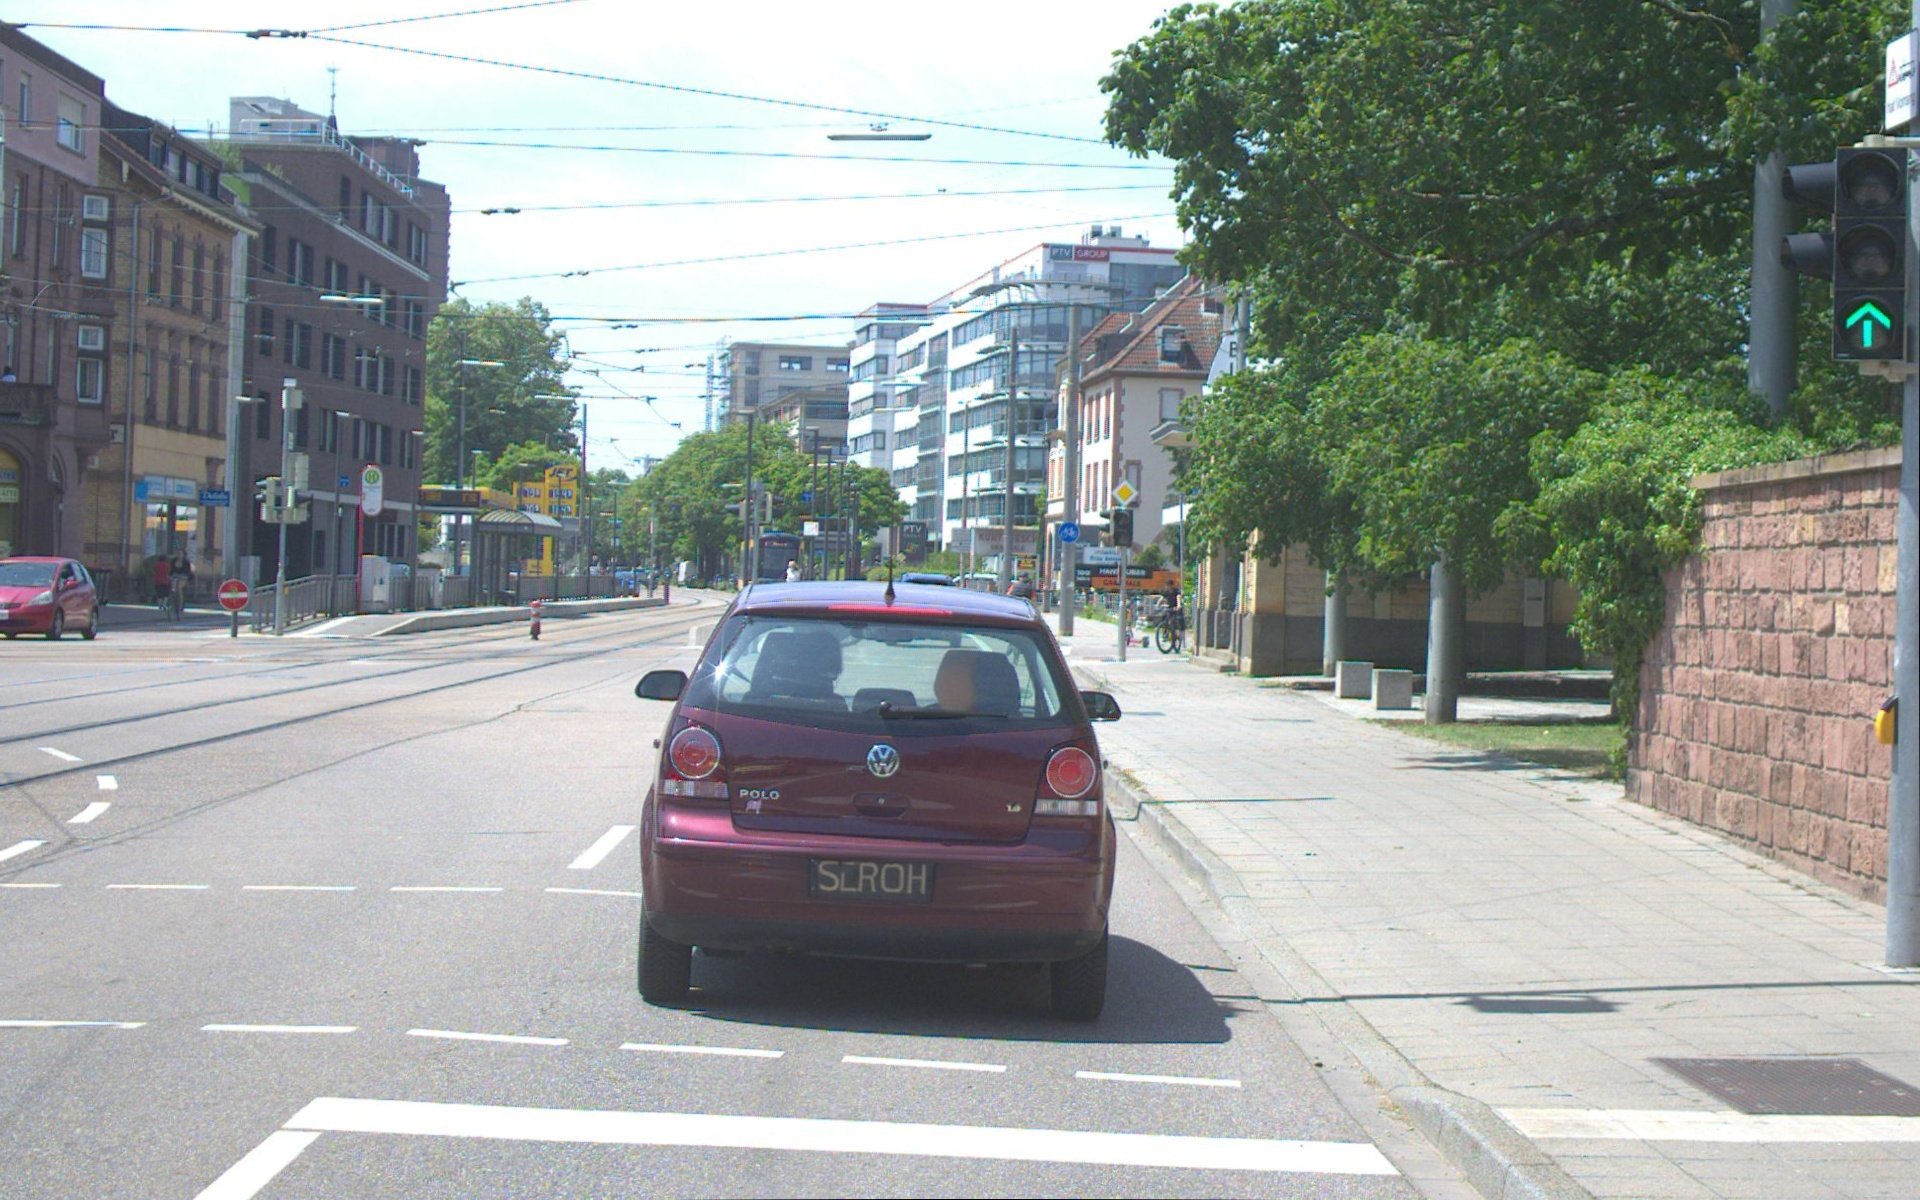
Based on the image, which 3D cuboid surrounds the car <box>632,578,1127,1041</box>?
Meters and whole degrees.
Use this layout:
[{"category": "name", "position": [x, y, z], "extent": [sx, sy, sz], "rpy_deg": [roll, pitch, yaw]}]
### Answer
[{"category": "car", "position": [-0.290, 0.669, 12.662], "extent": [1.561, 1.448, 3.062], "rpy_deg": [2, 0, -1]}]

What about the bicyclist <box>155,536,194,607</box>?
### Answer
[{"category": "bicyclist", "position": [-19.697, -0.713, 86.198], "extent": [0.732, 1.756, 1.135], "rpy_deg": [2, 1, -3]}]

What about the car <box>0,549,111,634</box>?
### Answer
[{"category": "car", "position": [-16.896, -0.180, 62.960], "extent": [1.624, 1.479, 3.829], "rpy_deg": [2, 0, 2]}]

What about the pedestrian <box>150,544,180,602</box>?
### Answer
[{"category": "pedestrian", "position": [-21.484, -0.725, 92.903], "extent": [0.614, 1.555, 0.640], "rpy_deg": [2, 1, -1]}]

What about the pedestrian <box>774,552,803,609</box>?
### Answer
[{"category": "pedestrian", "position": [-5.128, -0.571, 102.847], "extent": [0.763, 1.669, 1.100], "rpy_deg": [2, 0, 0]}]

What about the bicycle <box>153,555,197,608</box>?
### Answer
[{"category": "bicycle", "position": [-19.676, -0.474, 86.225], "extent": [0.676, 1.300, 2.105], "rpy_deg": [2, 1, -3]}]

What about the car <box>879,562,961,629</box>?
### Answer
[{"category": "car", "position": [-1.009, -0.136, 88.203], "extent": [1.993, 1.619, 4.632], "rpy_deg": [2, 0, 0]}]

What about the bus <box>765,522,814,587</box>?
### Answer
[{"category": "bus", "position": [-8.109, -2.144, 163.192], "extent": [2.144, 2.993, 6.574], "rpy_deg": [2, 0, -4]}]

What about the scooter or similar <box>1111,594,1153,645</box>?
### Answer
[{"category": "scooter or similar", "position": [4.129, 0.465, 82.494], "extent": [0.339, 1.174, 1.468], "rpy_deg": [2, 0, -24]}]

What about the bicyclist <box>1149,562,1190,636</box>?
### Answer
[{"category": "bicyclist", "position": [4.681, -0.018, 76.726], "extent": [0.832, 1.612, 0.860], "rpy_deg": [-1, 1, 1]}]

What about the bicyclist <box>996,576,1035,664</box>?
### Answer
[{"category": "bicyclist", "position": [1.140, 0.406, 70.718], "extent": [0.727, 1.754, 0.924], "rpy_deg": [2, 1, 3]}]

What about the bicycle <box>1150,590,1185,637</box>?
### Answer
[{"category": "bicycle", "position": [4.624, 0.293, 76.805], "extent": [0.668, 0.999, 1.863], "rpy_deg": [-1, 1, 1]}]

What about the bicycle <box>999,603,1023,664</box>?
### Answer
[{"category": "bicycle", "position": [1.051, 0.675, 70.558], "extent": [0.375, 1.193, 1.905], "rpy_deg": [2, 1, 3]}]
